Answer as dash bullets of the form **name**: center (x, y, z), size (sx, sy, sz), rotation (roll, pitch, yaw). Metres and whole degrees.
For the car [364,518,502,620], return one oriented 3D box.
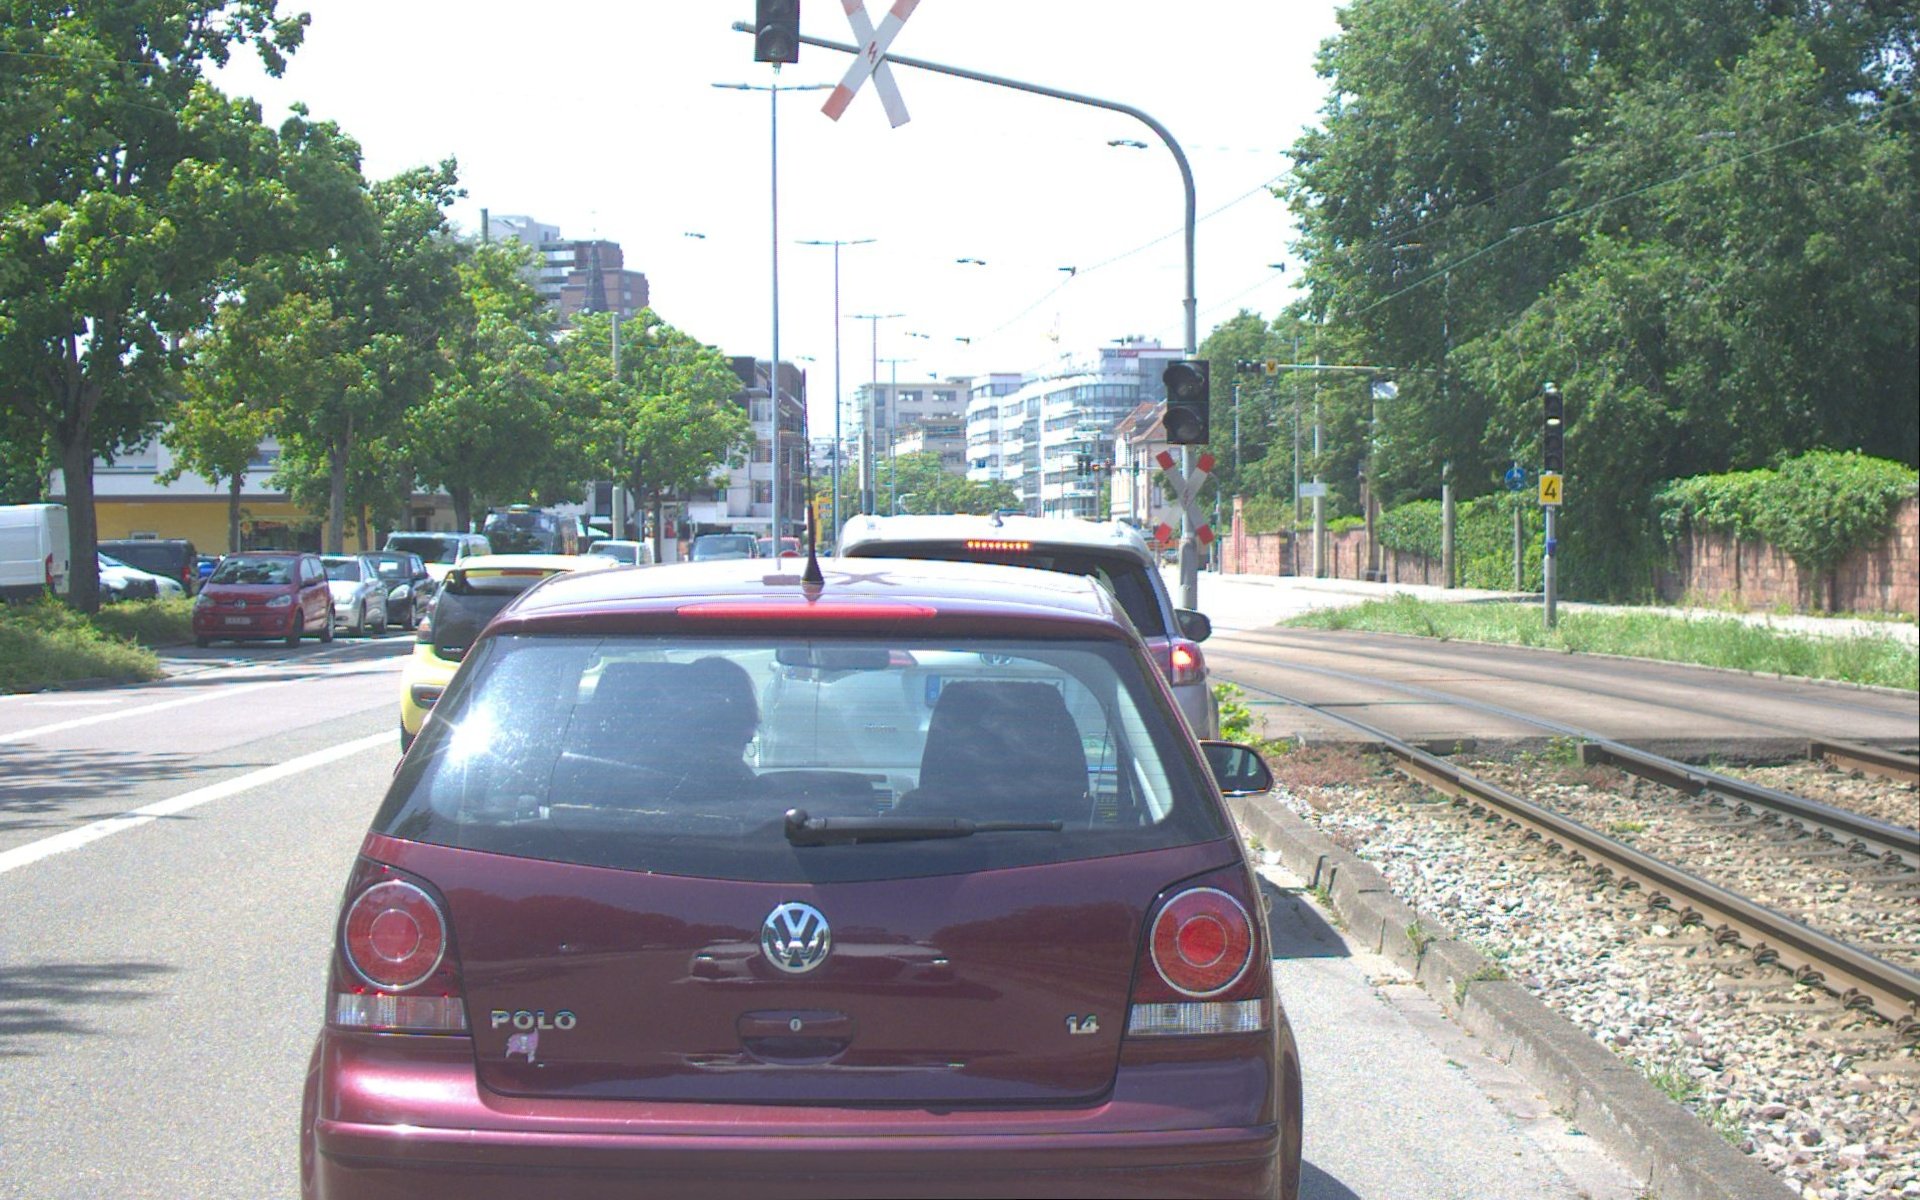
- **car**: center (-10.869, -0.660, 71.189), size (1.863, 1.930, 4.805), rotation (3, 1, 2)

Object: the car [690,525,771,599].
- **car**: center (-6.220, -1.053, 93.630), size (1.918, 1.904, 4.571), rotation (-2, 1, -1)

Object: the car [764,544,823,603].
- **car**: center (-5.678, -0.923, 117.506), size (1.898, 1.919, 4.820), rotation (-2, 1, -2)

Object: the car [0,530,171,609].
- **car**: center (-21.347, -0.736, 81.863), size (4.718, 1.807, 1.797), rotation (-1, 1, -1)

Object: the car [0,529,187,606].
- **car**: center (-21.452, -0.799, 83.986), size (4.718, 1.807, 1.797), rotation (-1, 1, -1)

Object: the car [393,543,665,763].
- **car**: center (-3.035, 0.330, 24.723), size (1.551, 1.443, 3.412), rotation (1, 1, -1)

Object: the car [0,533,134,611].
- **car**: center (-21.404, -0.645, 79.362), size (4.209, 1.759, 1.857), rotation (-1, 1, -1)

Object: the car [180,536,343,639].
- **car**: center (-10.974, -0.213, 54.230), size (1.672, 1.541, 3.726), rotation (1, 1, 2)

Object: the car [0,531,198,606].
- **car**: center (-21.673, -0.807, 86.271), size (4.718, 1.807, 1.797), rotation (-1, 1, -1)

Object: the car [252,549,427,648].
- **car**: center (-10.952, -0.056, 61.001), size (1.719, 1.422, 4.770), rotation (-6, 1, 5)

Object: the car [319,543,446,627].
- **car**: center (-11.040, -0.316, 65.933), size (1.614, 1.479, 3.784), rotation (3, 1, 2)

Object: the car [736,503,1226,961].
- **car**: center (0.054, 0.453, 14.747), size (1.795, 1.677, 4.000), rotation (1, 1, -1)

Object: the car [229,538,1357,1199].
- **car**: center (-0.266, 0.635, 6.943), size (1.609, 1.493, 4.000), rotation (1, 1, -1)

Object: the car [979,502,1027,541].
- **car**: center (2.148, -3.929, 172.676), size (1.918, 1.904, 4.572), rotation (-1, 1, -5)

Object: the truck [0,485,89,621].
- **truck**: center (-21.141, -0.953, 71.144), size (5.578, 2.750, 2.432), rotation (-1, 1, 1)
